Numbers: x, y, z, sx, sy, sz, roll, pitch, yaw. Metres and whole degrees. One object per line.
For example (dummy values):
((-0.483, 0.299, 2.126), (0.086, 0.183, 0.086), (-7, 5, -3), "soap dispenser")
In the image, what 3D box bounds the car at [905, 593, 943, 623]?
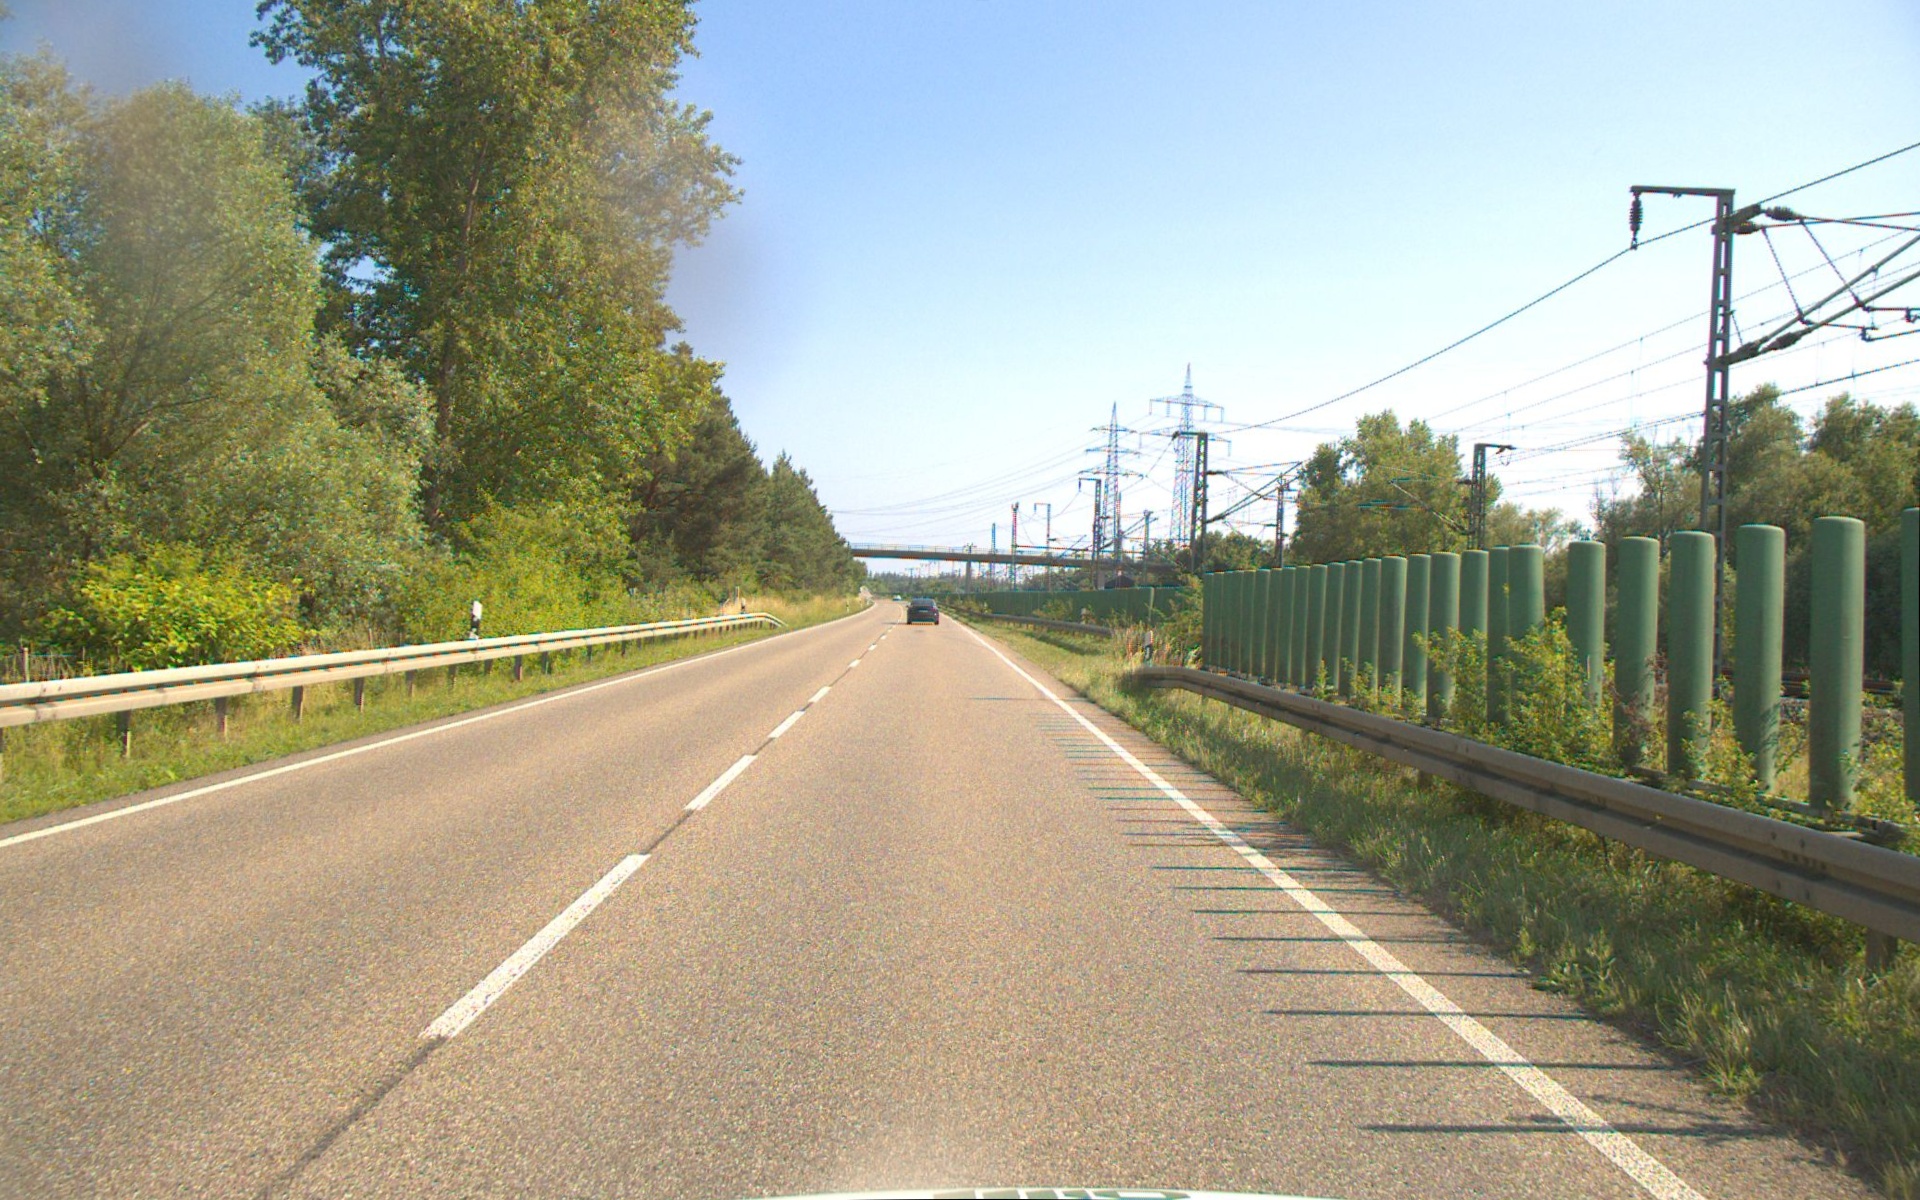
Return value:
((-2.082, 0.434, 94.731), (1.823, 1.670, 3.994), (0, 0, -7), "car")
